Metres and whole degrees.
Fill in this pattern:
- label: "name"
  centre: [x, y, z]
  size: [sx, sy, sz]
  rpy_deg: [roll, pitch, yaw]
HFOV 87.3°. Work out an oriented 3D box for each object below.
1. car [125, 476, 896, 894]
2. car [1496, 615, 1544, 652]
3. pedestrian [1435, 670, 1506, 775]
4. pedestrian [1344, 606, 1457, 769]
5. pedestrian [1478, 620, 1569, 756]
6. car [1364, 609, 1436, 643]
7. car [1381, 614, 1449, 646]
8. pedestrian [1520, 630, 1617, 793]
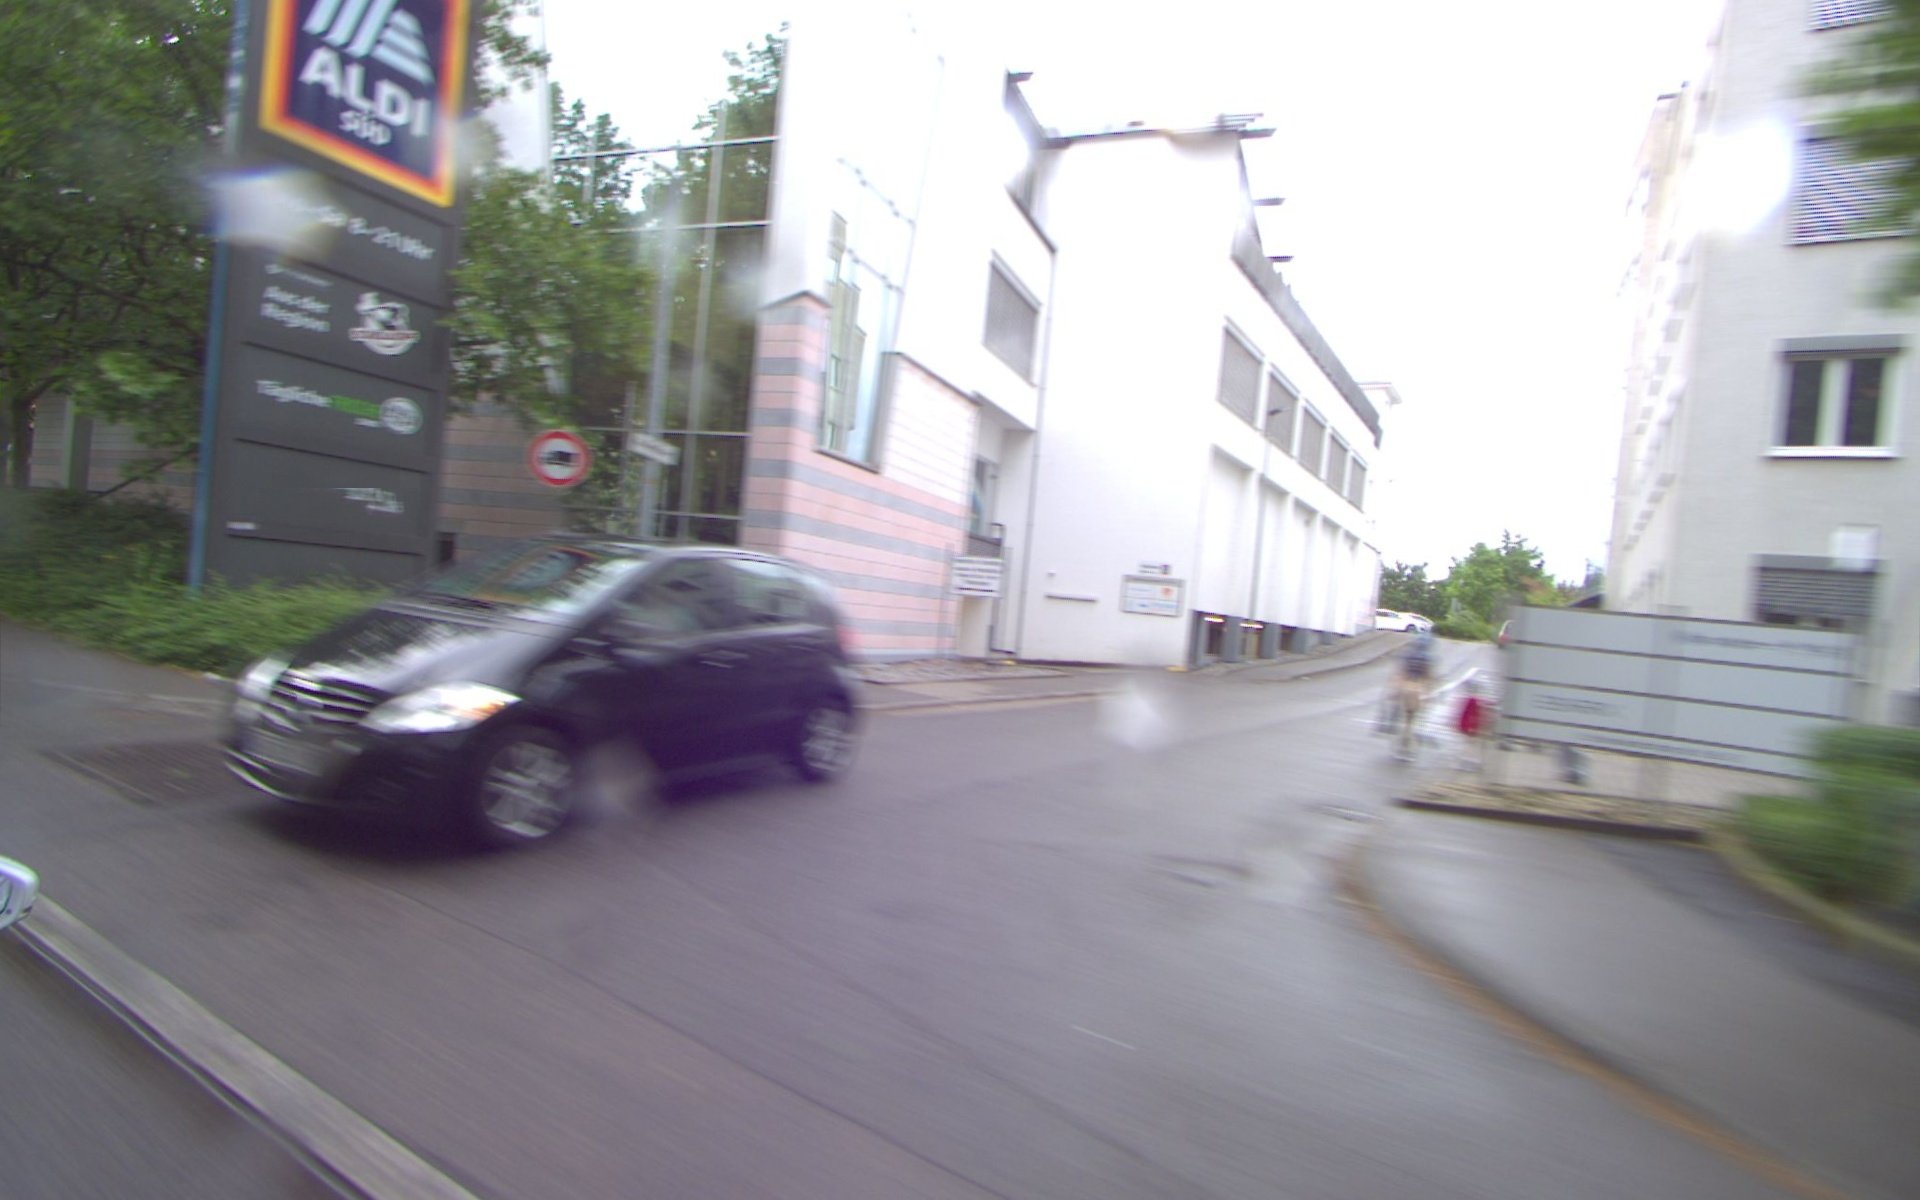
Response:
- label: "car"
  centre: [-2.258, 0.343, 6.148]
  size: [1.990, 1.567, 3.854]
  rpy_deg: [7, 1, 25]
- label: "car"
  centre: [29.138, 1.762, 52.290]
  size: [1.756, 1.656, 3.850]
  rpy_deg: [7, 1, 33]
- label: "pedestrian"
  centre: [6.052, 1.432, 11.916]
  size: [0.553, 1.145, 0.621]
  rpy_deg: [7, 1, 35]
- label: "pedestrian"
  centre: [5.491, 1.064, 12.533]
  size: [0.945, 1.852, 0.829]
  rpy_deg: [7, 2, 36]
- label: "pedestrian"
  centre: [8.303, 1.269, 14.811]
  size: [0.945, 1.851, 0.829]
  rpy_deg: [6, 1, 35]
- label: "car"
  centre: [28.490, 1.653, 65.130]
  size: [3.935, 1.728, 1.561]
  rpy_deg: [7, 1, 33]
- label: "car"
  centre: [31.550, 2.077, 69.798]
  size: [3.935, 1.728, 1.561]
  rpy_deg: [7, 1, 33]
- label: "pedestrian"
  centre: [6.704, 1.200, 11.079]
  size: [0.691, 1.638, 0.917]
  rpy_deg: [7, 1, 35]
